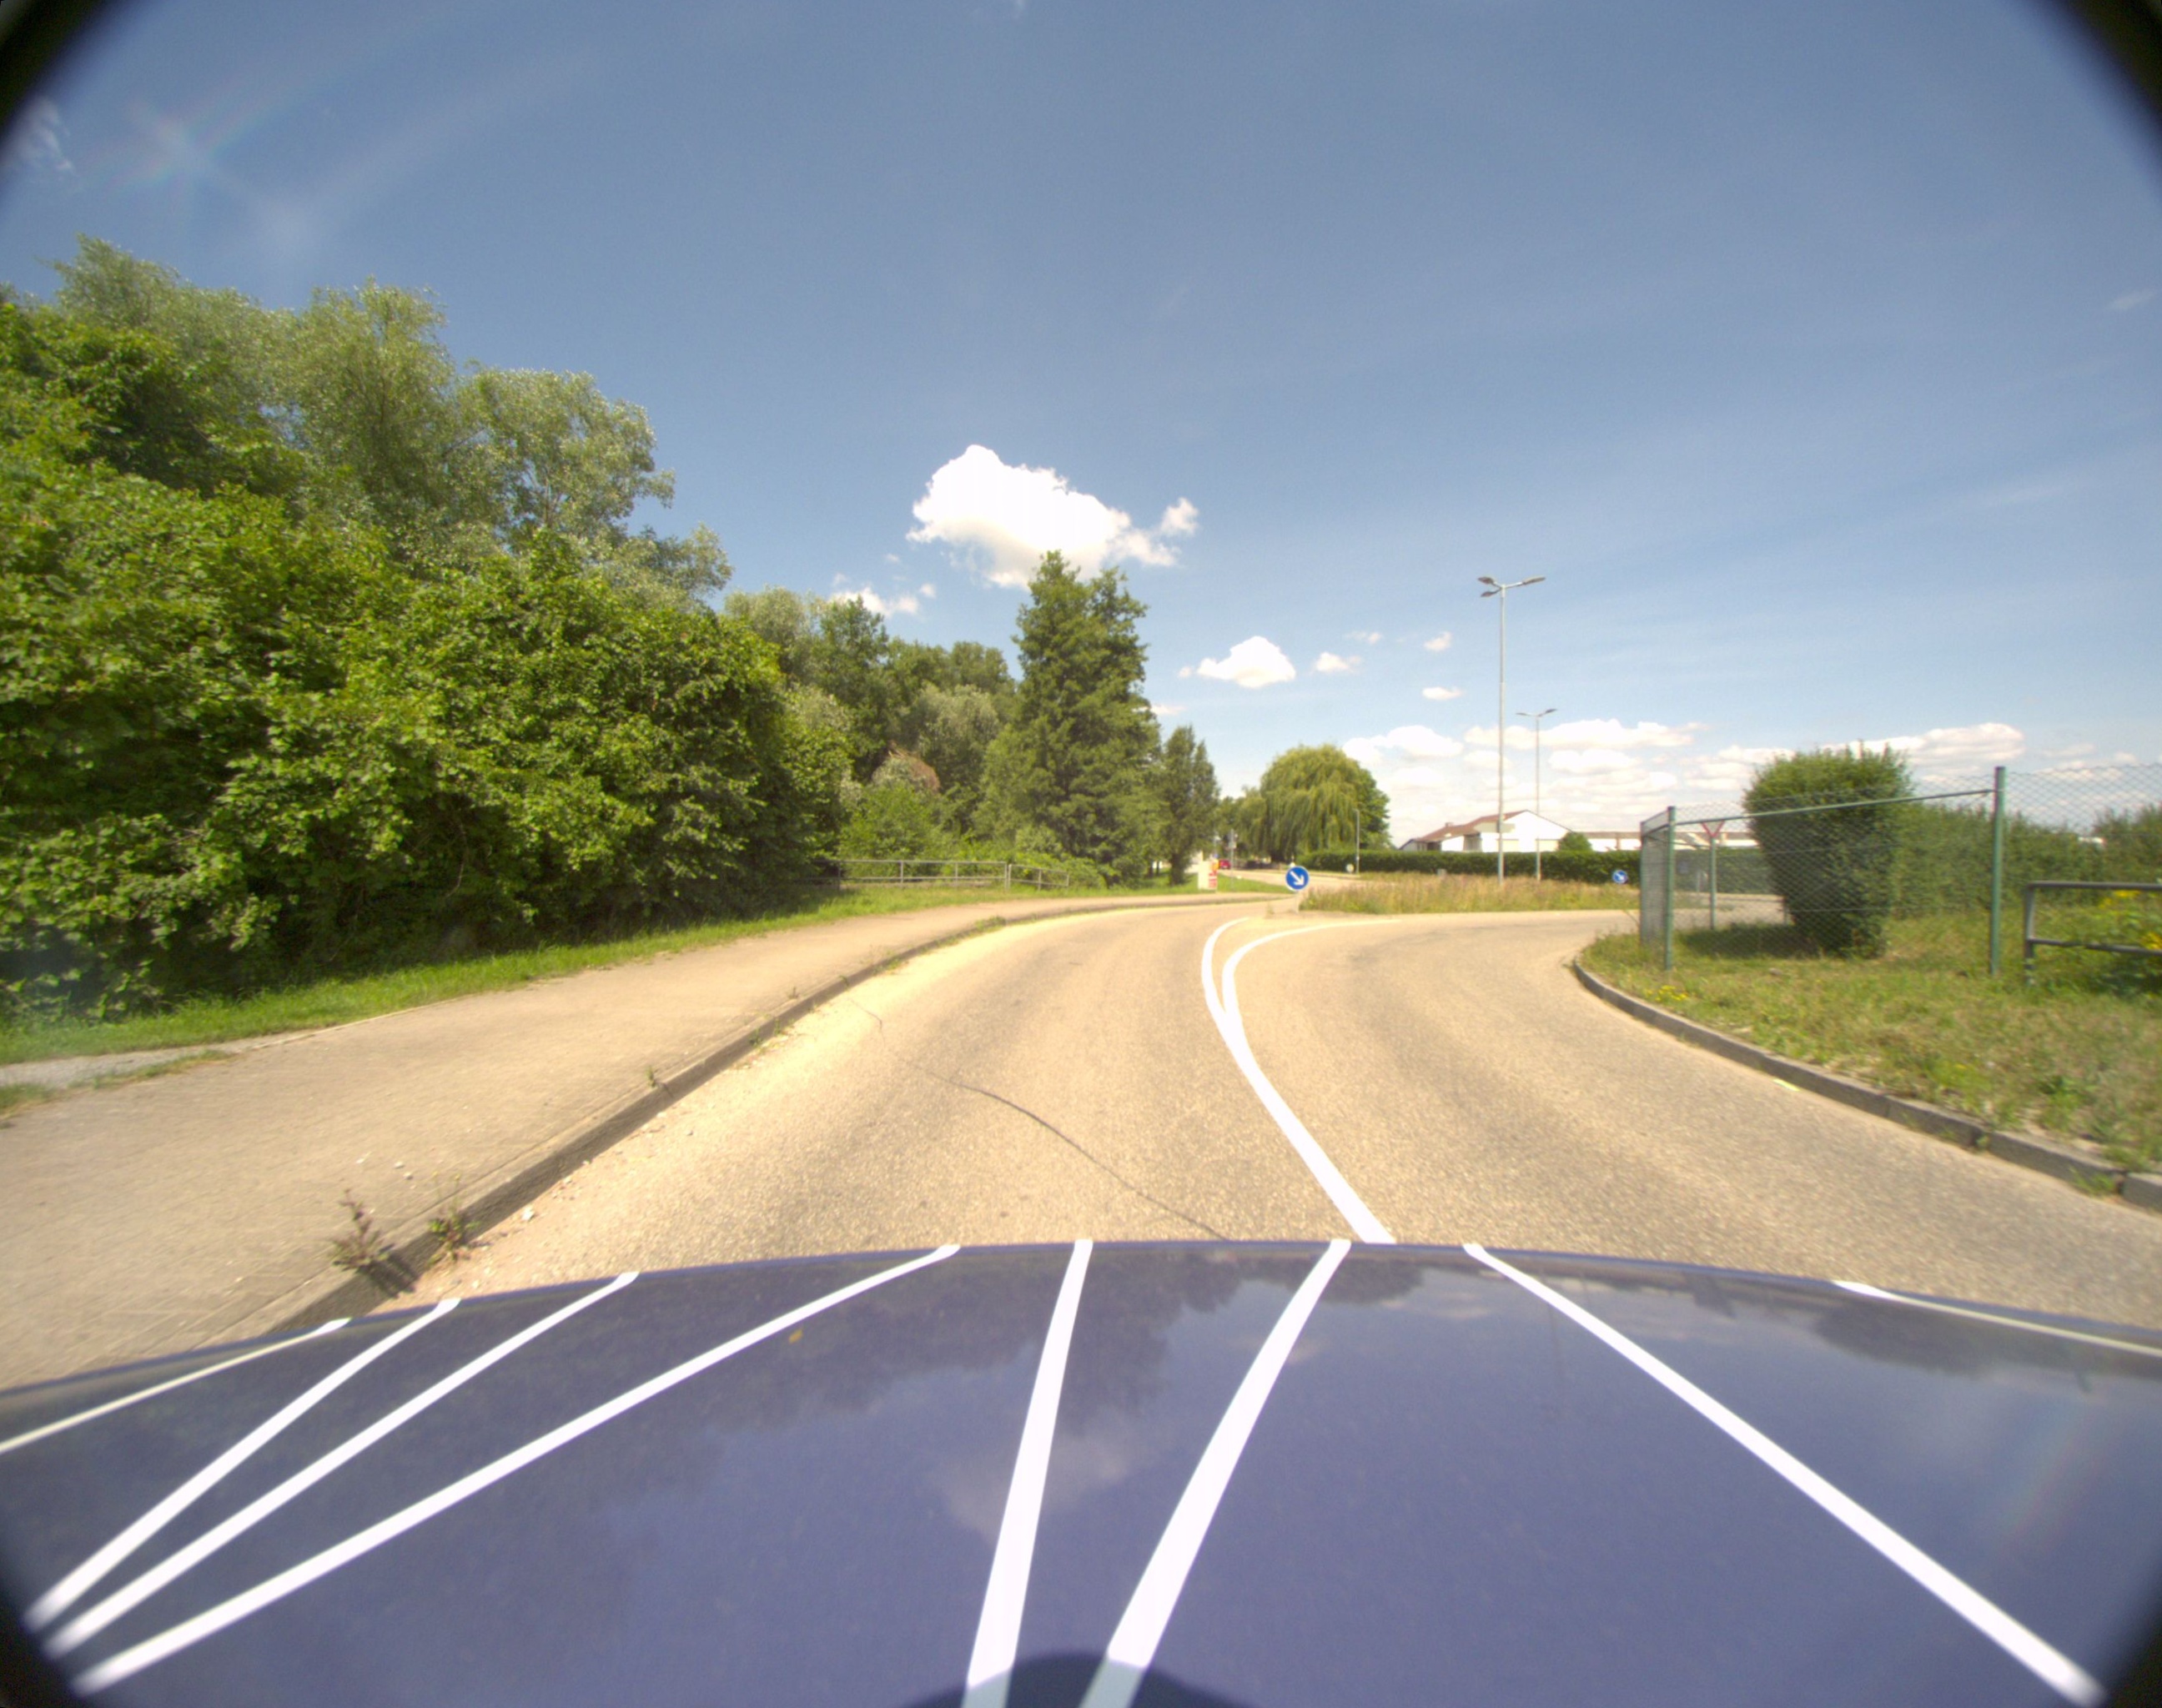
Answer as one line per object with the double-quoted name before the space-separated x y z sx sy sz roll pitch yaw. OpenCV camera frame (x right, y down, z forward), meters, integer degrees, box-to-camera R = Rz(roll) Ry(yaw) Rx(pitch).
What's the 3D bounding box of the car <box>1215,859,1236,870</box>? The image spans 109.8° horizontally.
"car" 19.945 1.418 104.892 1.885 1.455 4.386 1 0 -2
